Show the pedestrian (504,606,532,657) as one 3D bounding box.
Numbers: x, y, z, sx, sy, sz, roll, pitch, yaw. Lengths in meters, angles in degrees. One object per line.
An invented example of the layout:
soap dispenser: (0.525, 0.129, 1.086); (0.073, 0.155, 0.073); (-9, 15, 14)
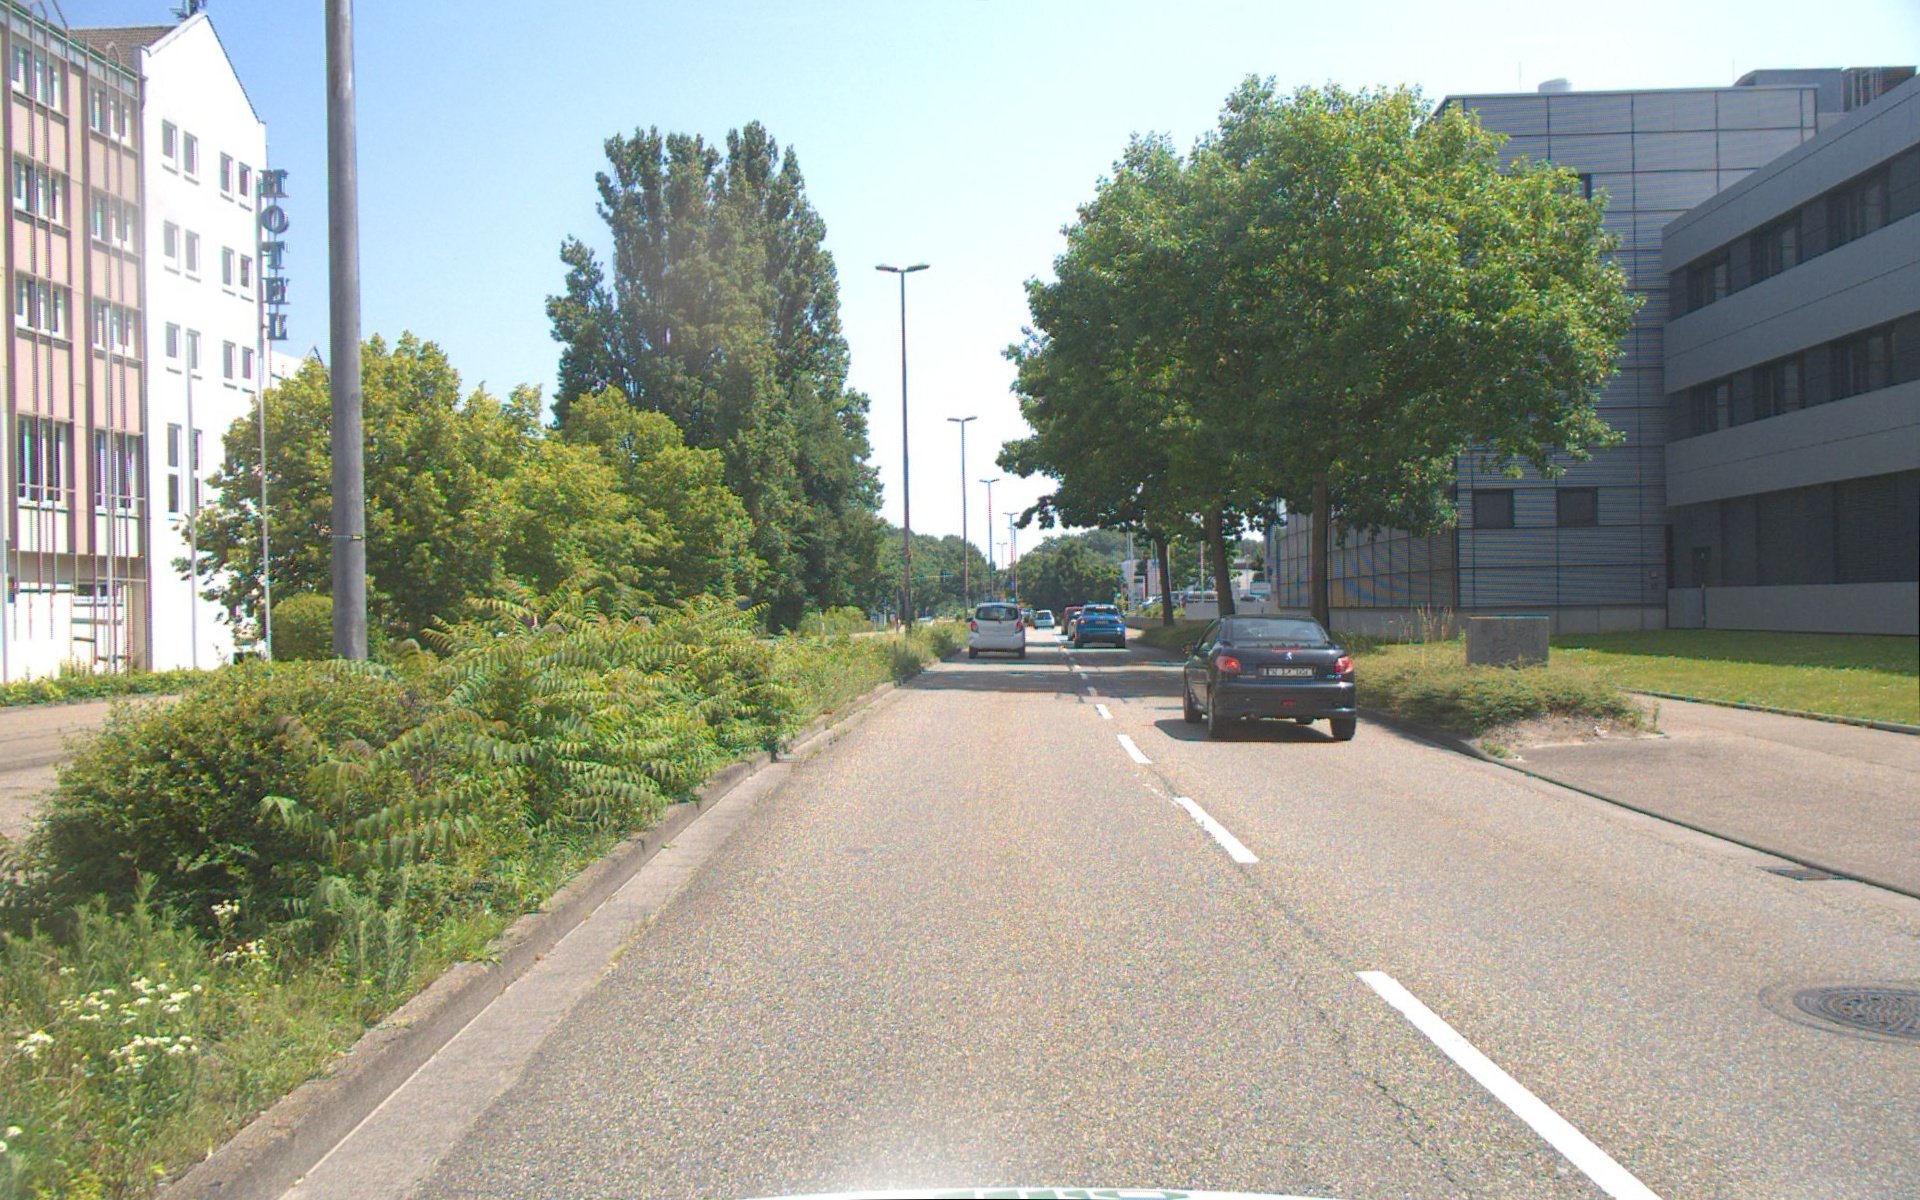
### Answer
pedestrian: (-13.660, 0.973, 51.153); (0.619, 1.572, 0.727); (-2, -1, 2)

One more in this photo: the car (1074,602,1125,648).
car: (5.218, 0.925, 61.608); (1.789, 1.608, 3.607); (-2, -1, 5)

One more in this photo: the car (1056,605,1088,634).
car: (7.210, 1.286, 106.648); (1.739, 1.771, 3.999); (-2, -1, 0)

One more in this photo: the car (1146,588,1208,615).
car: (15.219, 0.114, 116.184); (4.139, 1.676, 2.000); (-2, -1, 2)

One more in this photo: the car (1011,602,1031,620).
car: (6.333, 1.135, 172.790); (1.782, 1.691, 3.999); (-1, 0, -1)

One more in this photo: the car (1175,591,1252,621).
car: (15.407, 0.374, 100.826); (4.406, 1.610, 2.000); (-2, -1, 2)

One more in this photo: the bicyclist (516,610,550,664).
bicyclist: (-12.463, 1.064, 48.274); (0.703, 1.542, 1.026); (-2, -1, -1)

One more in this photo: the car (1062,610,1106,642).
car: (5.983, 1.264, 80.124); (1.952, 1.467, 4.001); (-2, -1, 2)

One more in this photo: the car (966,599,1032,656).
car: (1.144, 0.765, 47.253); (1.711, 1.546, 3.747); (0, 0, 4)

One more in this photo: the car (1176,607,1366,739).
car: (3.579, 0.789, 19.581); (1.593, 1.388, 3.605); (0, 0, 0)

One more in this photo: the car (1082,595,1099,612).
car: (16.654, 0.448, 211.440); (1.734, 2.049, 3.990); (-2, 0, -1)

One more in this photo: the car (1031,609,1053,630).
car: (6.997, 1.669, 141.982); (1.782, 1.691, 4.001); (-1, 0, 2)

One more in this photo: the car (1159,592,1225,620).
car: (15.373, 0.426, 109.818); (4.139, 1.676, 2.000); (-2, -1, 2)

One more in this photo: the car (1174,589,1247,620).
car: (14.568, 0.265, 96.280); (3.906, 1.647, 2.000); (-2, 0, -1)
